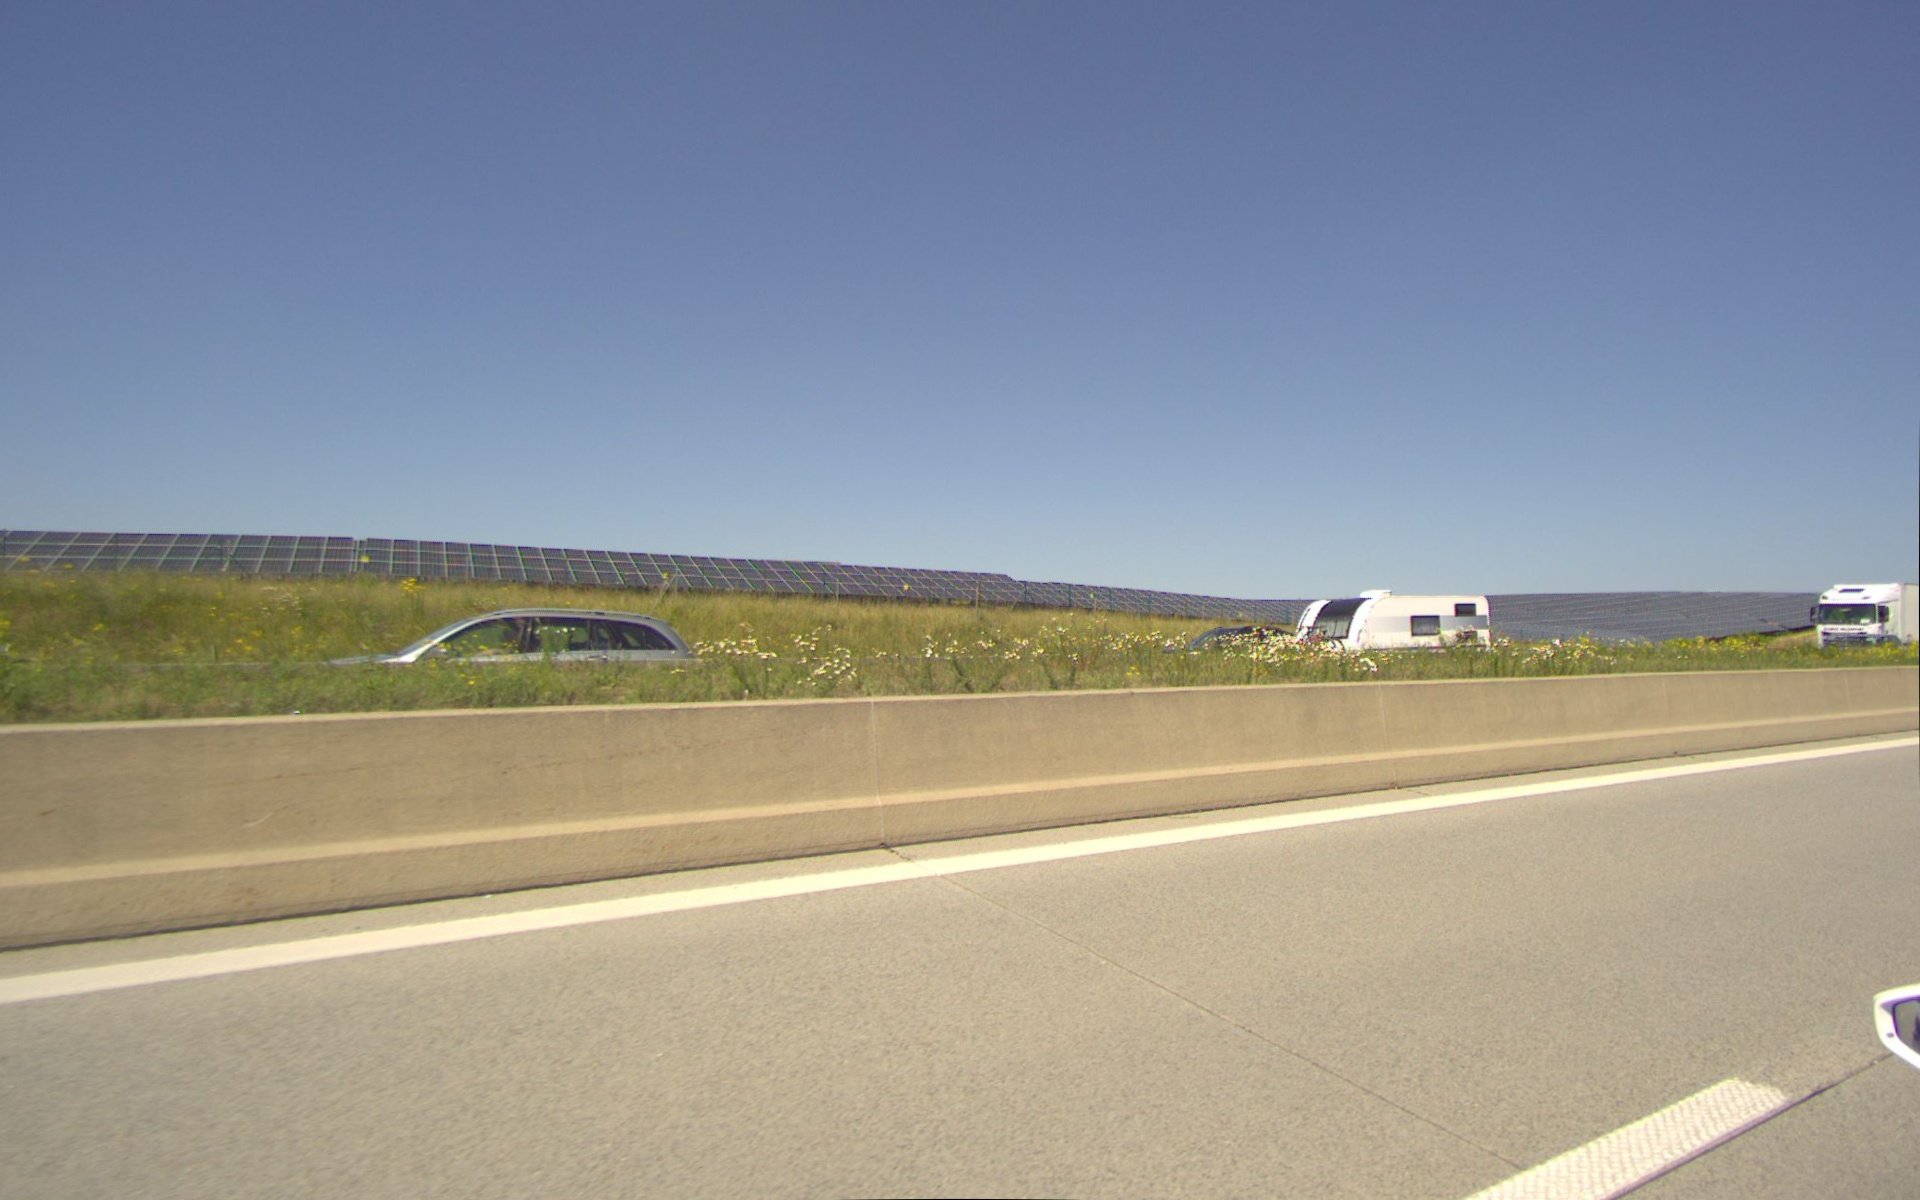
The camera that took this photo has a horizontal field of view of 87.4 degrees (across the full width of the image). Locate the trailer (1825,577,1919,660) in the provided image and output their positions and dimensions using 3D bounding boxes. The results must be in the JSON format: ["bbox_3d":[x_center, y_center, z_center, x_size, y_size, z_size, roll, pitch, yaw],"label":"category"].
[{"bbox_3d":[51.438,1.068,54.012,13.976,4.058,3.075,2,0,-31],"label":"trailer"}]

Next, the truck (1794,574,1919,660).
[{"bbox_3d":[45.355,0.881,50.429,7.170,4.058,3.075,2,0,-30],"label":"truck"}]

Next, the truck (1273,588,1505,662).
[{"bbox_3d":[13.192,0.775,30.671,7.541,2.040,2.504,2,0,-30],"label":"truck"}]

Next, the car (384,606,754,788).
[{"bbox_3d":[-4.455,1.001,11.537,3.698,1.751,1.817,2,0,-30],"label":"car"}]
